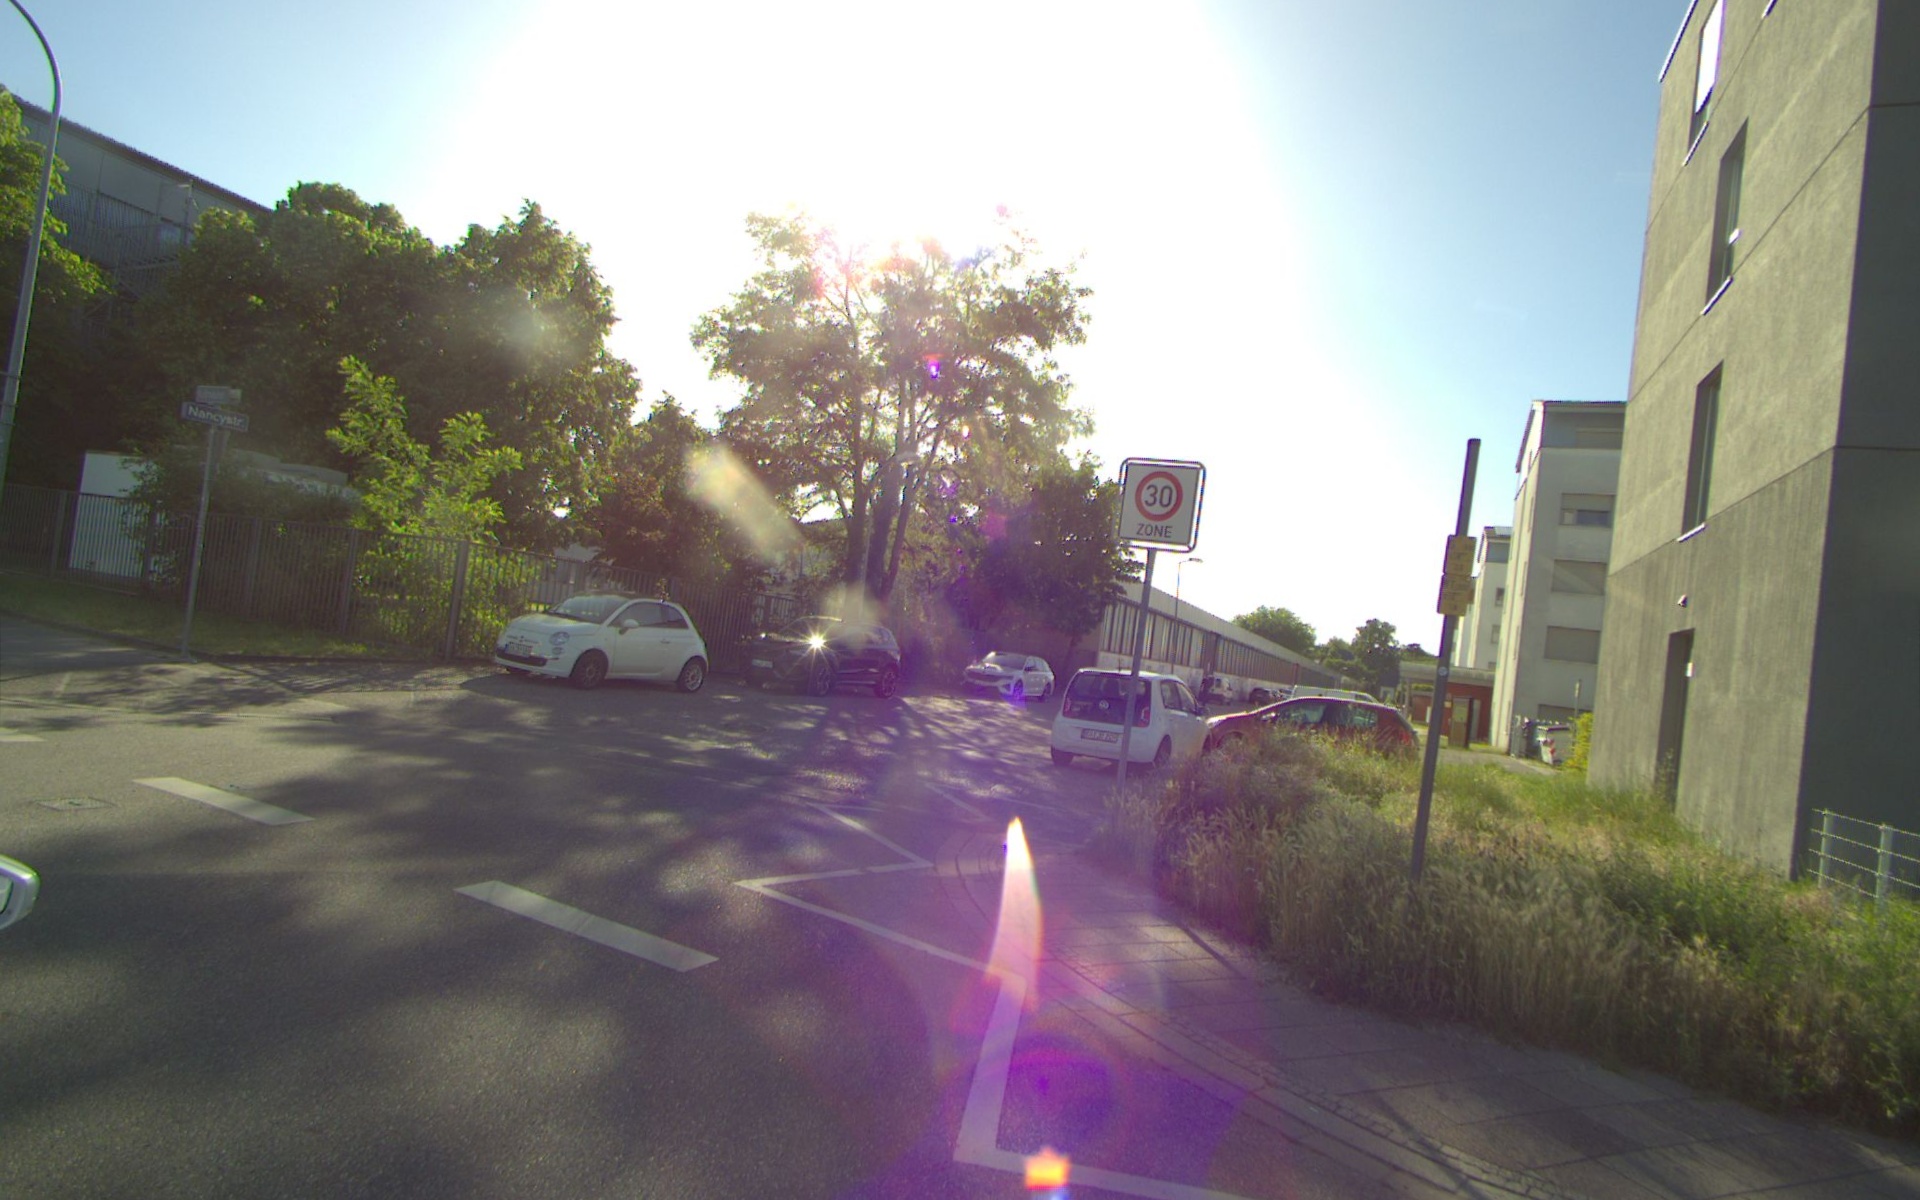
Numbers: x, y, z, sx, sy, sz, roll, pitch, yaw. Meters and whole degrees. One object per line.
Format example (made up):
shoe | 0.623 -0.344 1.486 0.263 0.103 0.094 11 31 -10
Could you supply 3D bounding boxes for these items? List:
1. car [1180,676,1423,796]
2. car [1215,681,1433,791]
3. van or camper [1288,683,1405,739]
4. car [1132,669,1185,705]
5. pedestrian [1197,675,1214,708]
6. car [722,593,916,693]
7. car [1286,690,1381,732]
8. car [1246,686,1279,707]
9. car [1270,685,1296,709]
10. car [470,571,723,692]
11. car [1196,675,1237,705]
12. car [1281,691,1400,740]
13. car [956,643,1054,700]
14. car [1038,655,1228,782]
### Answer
car | 6.276 2.426 18.550 3.928 1.487 1.698 7 -1 24
car | 7.446 2.718 20.661 3.928 1.538 1.698 7 -1 24
van or camper | 19.468 5.564 50.683 5.203 1.980 2.000 7 -2 27
car | 9.773 4.281 49.322 1.680 1.453 4.003 7 -3 22
pedestrian | 13.223 4.907 54.177 0.656 1.680 0.487 7 -1 24
car | -2.839 0.971 21.177 1.726 1.655 4.164 7 -3 29
car | 17.701 5.238 47.663 4.014 1.365 1.764 7 -2 24
car | 25.068 8.011 83.326 1.952 1.453 4.001 7 -3 25
car | 31.531 9.466 98.204 1.963 2.036 4.003 7 -2 21
car | -5.565 0.572 15.847 1.571 1.502 3.559 7 -2 25
car | 16.544 5.810 64.748 1.681 1.687 4.001 7 -3 25
car | 16.206 4.882 42.854 4.518 1.365 2.001 7 -2 24
car | 1.489 2.290 31.505 1.680 1.453 4.003 7 -3 22
car | 2.696 1.750 15.095 1.685 1.474 3.336 7 -2 29
